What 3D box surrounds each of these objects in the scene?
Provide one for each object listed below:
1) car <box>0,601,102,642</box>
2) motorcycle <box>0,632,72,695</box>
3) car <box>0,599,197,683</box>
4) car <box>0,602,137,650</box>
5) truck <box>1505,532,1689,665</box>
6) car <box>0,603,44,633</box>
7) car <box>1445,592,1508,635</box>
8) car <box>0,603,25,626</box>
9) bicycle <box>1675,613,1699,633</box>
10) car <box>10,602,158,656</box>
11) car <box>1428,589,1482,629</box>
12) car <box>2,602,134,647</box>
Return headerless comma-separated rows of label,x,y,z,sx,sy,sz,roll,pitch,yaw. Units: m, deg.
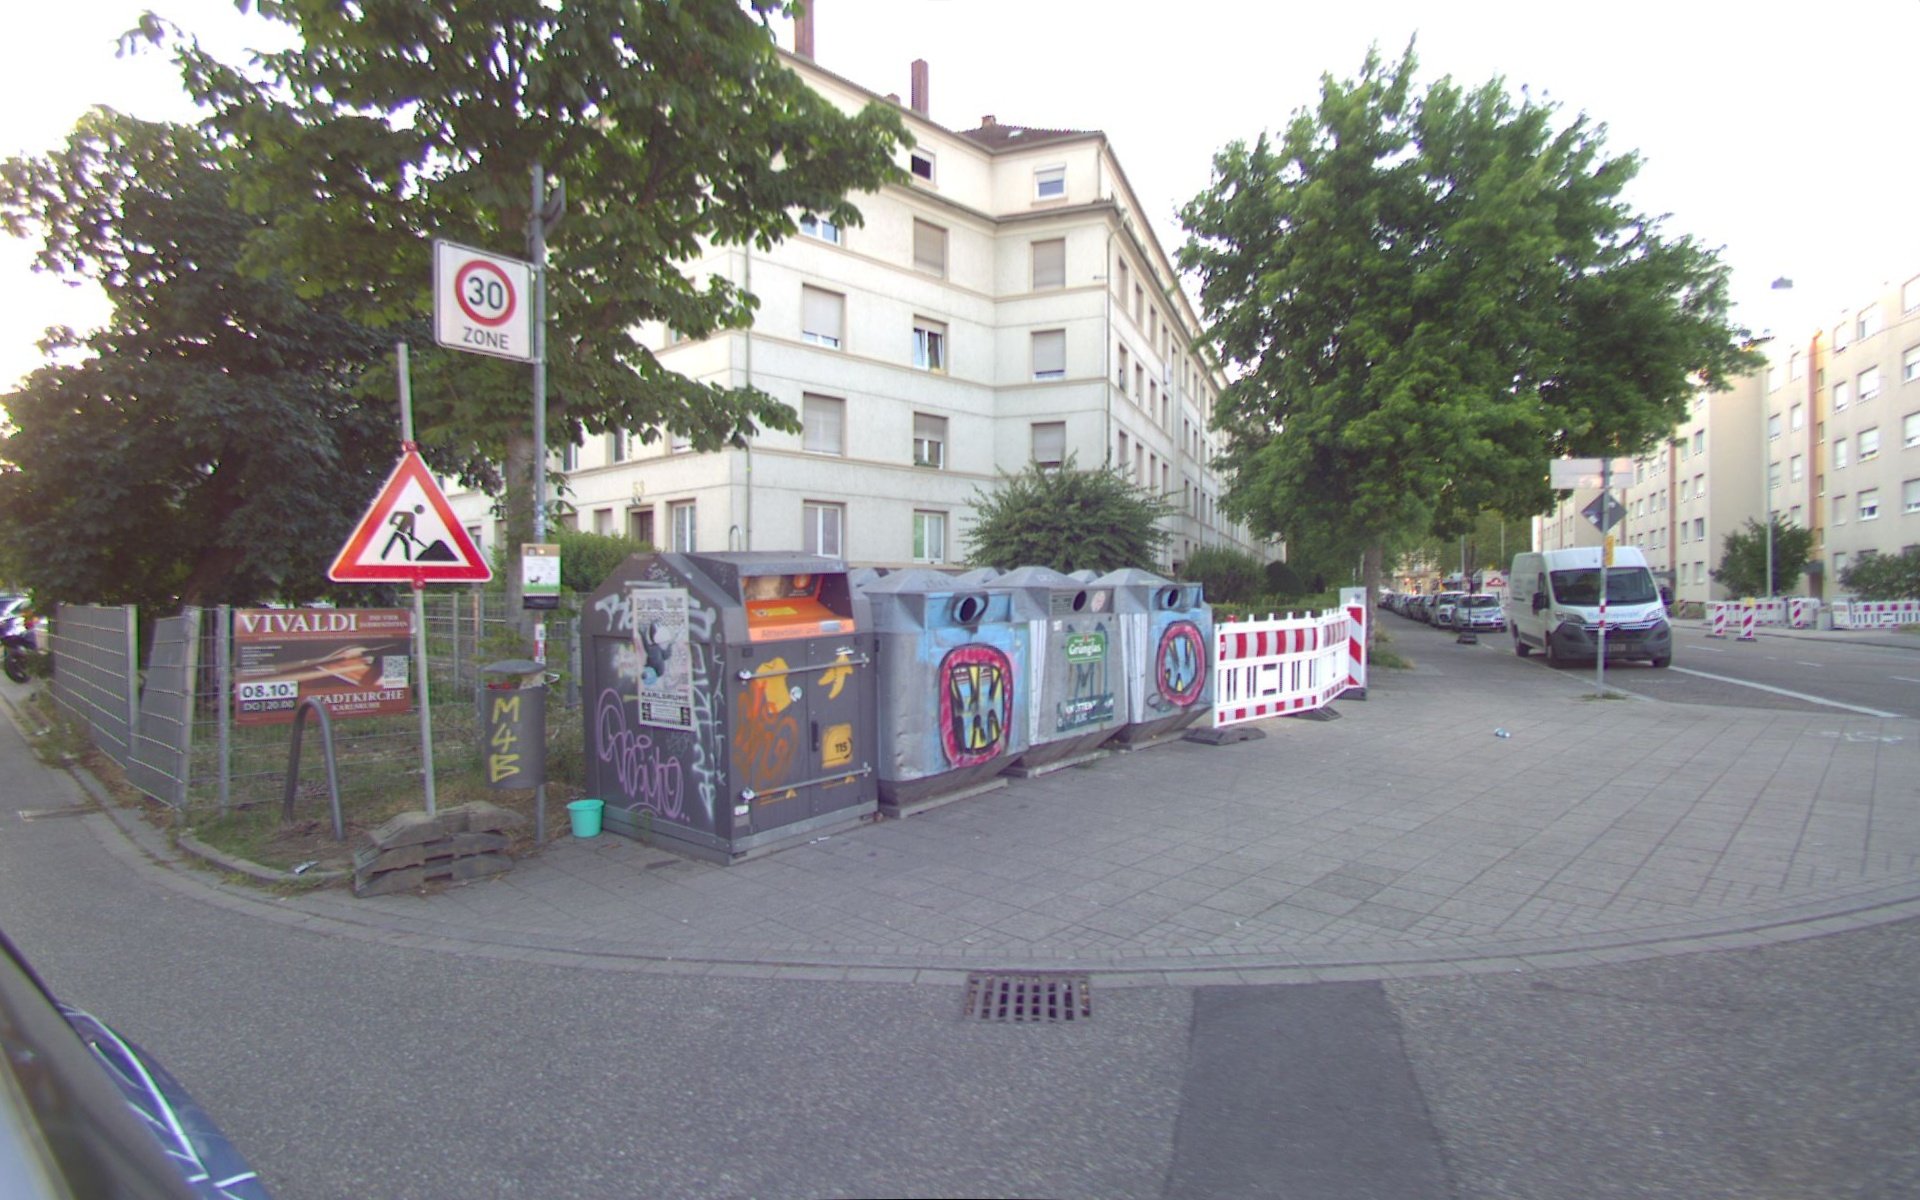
car,-36.151,0.840,39.726,3.635,1.456,1.729,-2,2,-45
motorcycle,-17.944,1.198,19.369,0.530,1.028,2.218,-3,2,-17
car,-19.691,0.863,22.903,1.693,1.568,3.584,-1,3,43
car,-31.833,0.895,35.884,3.932,1.500,1.729,-2,2,-45
truck,13.453,-0.005,21.830,2.093,2.441,6.004,-2,-1,21
car,-50.465,0.971,52.867,1.727,1.495,3.661,-1,1,41
car,20.237,0.515,39.763,1.749,1.494,3.899,-3,-1,21
car,-91.343,1.374,95.309,4.717,2.085,2.003,-1,0,-42
bicycle,41.941,1.293,58.377,0.615,1.115,2.217,-1,0,23
car,-28.839,0.911,33.389,1.726,1.578,3.441,1,2,38
car,22.018,0.388,45.096,1.749,1.616,3.899,-3,-1,21
car,-33.715,0.878,38.307,3.635,1.495,1.729,-2,2,-44
